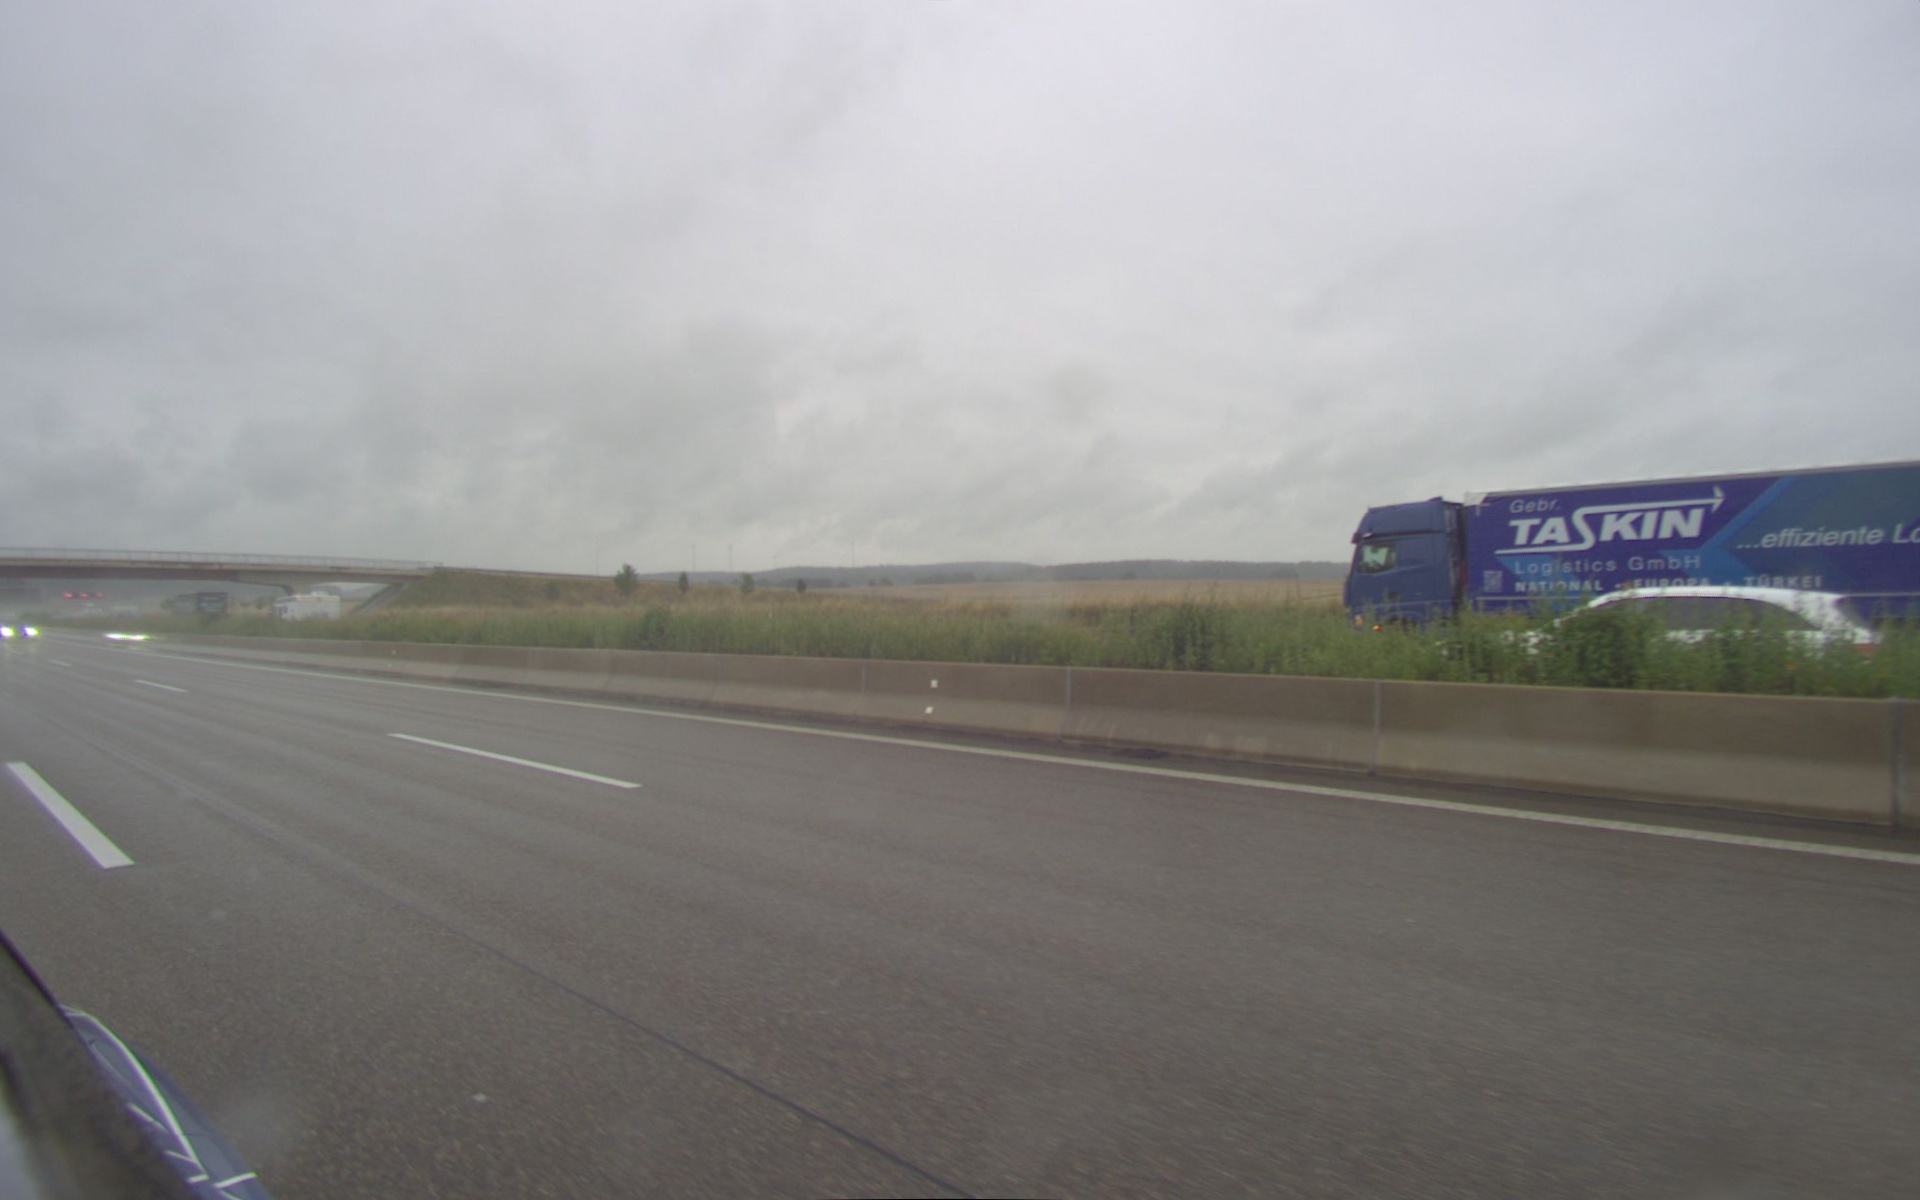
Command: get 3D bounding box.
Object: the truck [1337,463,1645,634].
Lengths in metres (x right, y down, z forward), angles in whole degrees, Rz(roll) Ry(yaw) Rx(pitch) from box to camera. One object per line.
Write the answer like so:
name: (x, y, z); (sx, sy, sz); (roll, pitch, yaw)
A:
truck: (12.124, -0.968, 23.351); (5.684, 3.448, 3.066); (-1, -2, 42)

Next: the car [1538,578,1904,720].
car: (8.320, 0.483, 11.256); (3.087, 1.361, 1.382); (-1, 0, 40)

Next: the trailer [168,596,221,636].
trailer: (-80.245, 1.727, 105.975); (14.210, 4.027, 2.199); (-1, -2, 44)

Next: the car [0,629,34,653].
car: (-66.151, 2.821, 70.811); (3.733, 1.564, 1.678); (-1, 0, 42)

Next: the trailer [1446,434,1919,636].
trailer: (17.070, -1.084, 18.756); (14.234, 3.444, 3.081); (-1, -2, 43)

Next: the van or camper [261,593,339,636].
van or camper: (-40.810, 0.912, 62.483); (6.754, 2.527, 2.348); (-2, -1, 42)

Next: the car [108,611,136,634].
car: (-103.348, 2.733, 124.798); (2.465, 2.727, 6.219); (0, 0, -38)
